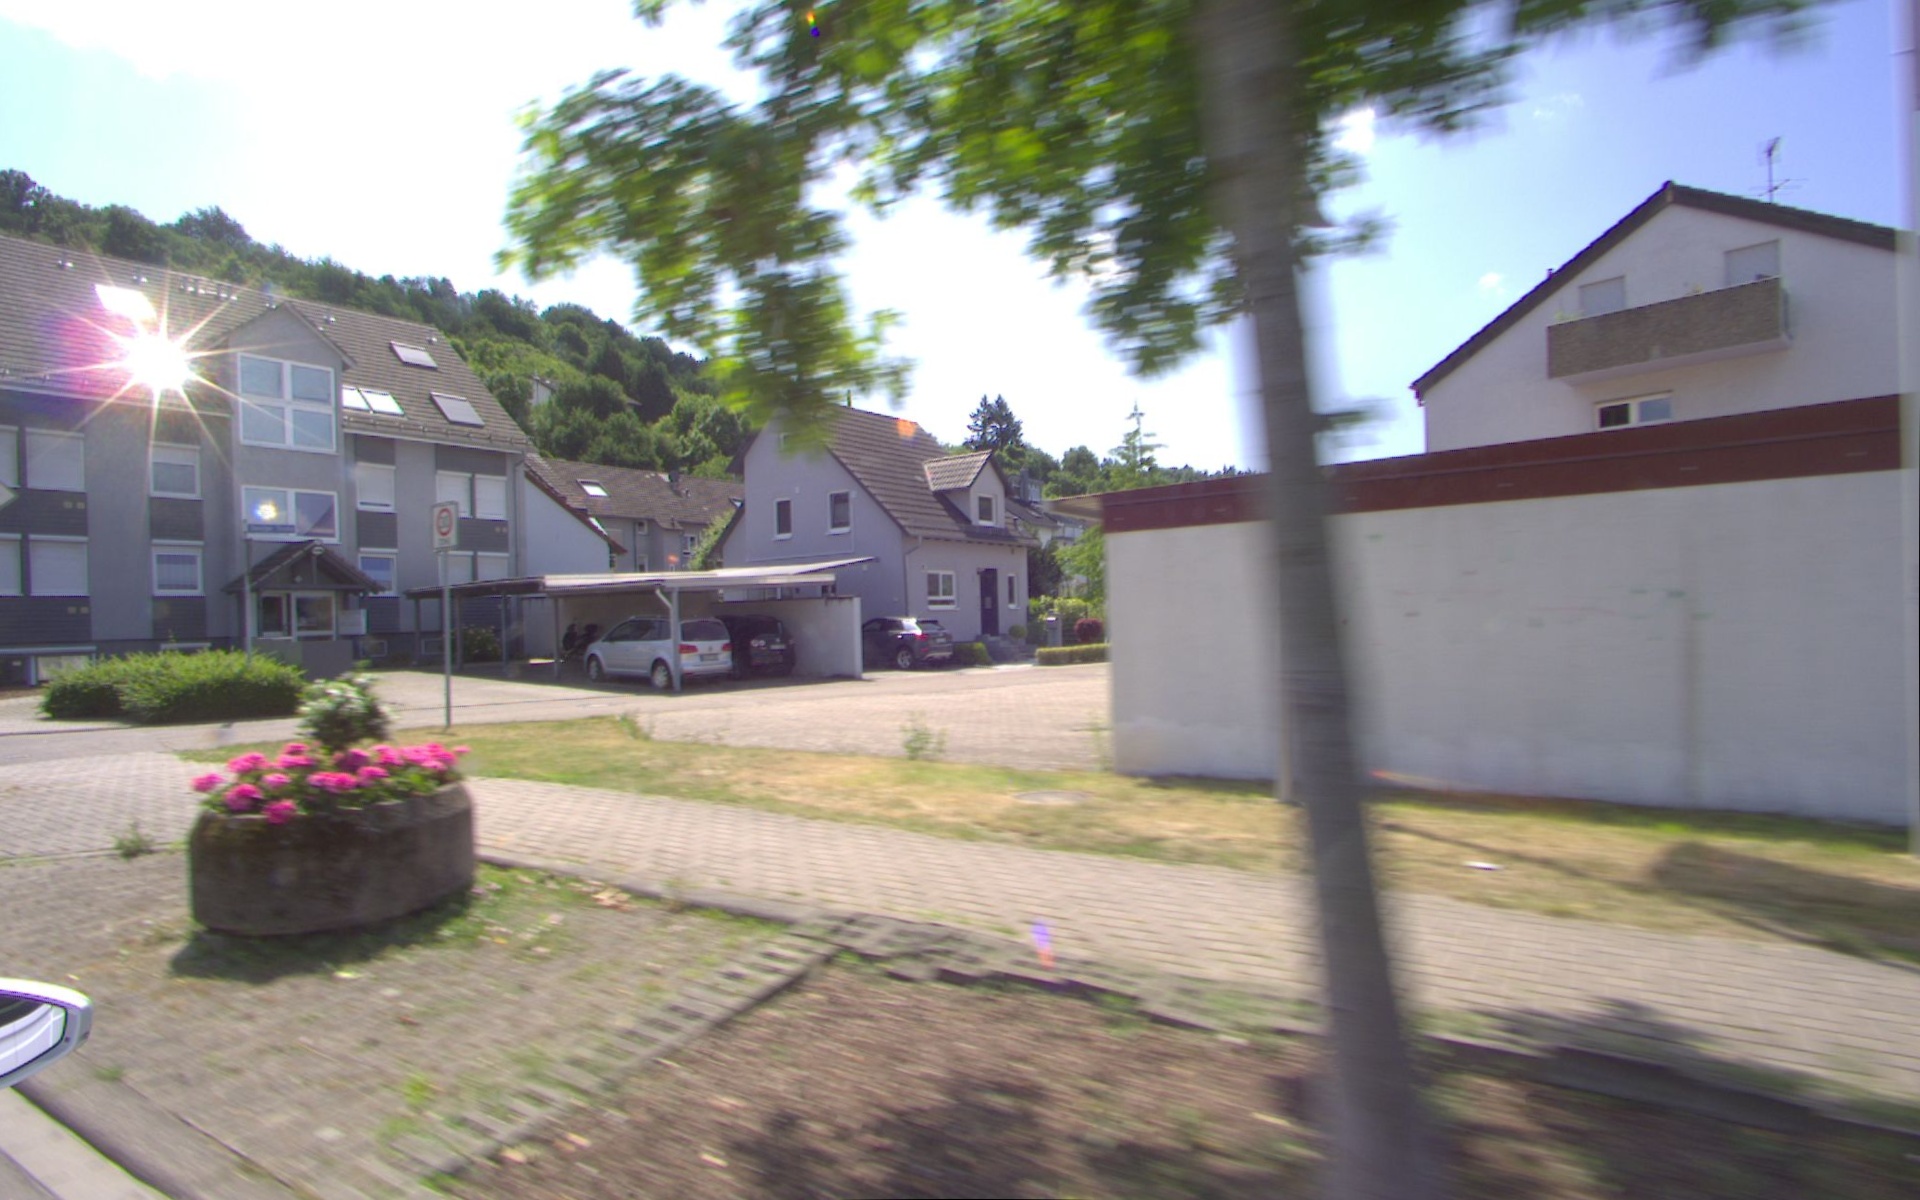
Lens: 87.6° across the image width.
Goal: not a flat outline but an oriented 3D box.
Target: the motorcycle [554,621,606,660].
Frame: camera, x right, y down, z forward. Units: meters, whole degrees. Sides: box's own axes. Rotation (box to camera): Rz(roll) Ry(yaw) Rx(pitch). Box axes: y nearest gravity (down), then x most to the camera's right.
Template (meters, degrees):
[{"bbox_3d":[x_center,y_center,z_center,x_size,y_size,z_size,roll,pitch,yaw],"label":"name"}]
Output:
[{"bbox_3d":[-12.387,1.311,32.595,1.927,1.179,0.645,1,1,37],"label":"motorcycle"}]

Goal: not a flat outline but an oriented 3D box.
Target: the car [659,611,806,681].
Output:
[{"bbox_3d":[-6.062,1.158,26.524,3.801,1.609,1.731,1,1,36],"label":"car"}]

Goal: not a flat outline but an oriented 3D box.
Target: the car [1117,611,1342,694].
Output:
[{"bbox_3d":[5.404,1.024,20.274,4.075,1.522,1.671,-2,-1,34],"label":"car"}]

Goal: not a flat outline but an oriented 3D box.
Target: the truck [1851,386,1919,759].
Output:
[{"bbox_3d":[9.714,-0.316,7.824,2.640,3.618,8.156,-2,-2,32],"label":"truck"}]

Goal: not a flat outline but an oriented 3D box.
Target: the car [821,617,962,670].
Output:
[{"bbox_3d":[-2.077,1.267,30.079,3.942,1.490,1.805,-1,-1,32],"label":"car"}]

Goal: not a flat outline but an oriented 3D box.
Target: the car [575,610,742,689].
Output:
[{"bbox_3d":[-7.367,1.128,24.332,4.159,1.671,1.731,1,1,36],"label":"car"}]
